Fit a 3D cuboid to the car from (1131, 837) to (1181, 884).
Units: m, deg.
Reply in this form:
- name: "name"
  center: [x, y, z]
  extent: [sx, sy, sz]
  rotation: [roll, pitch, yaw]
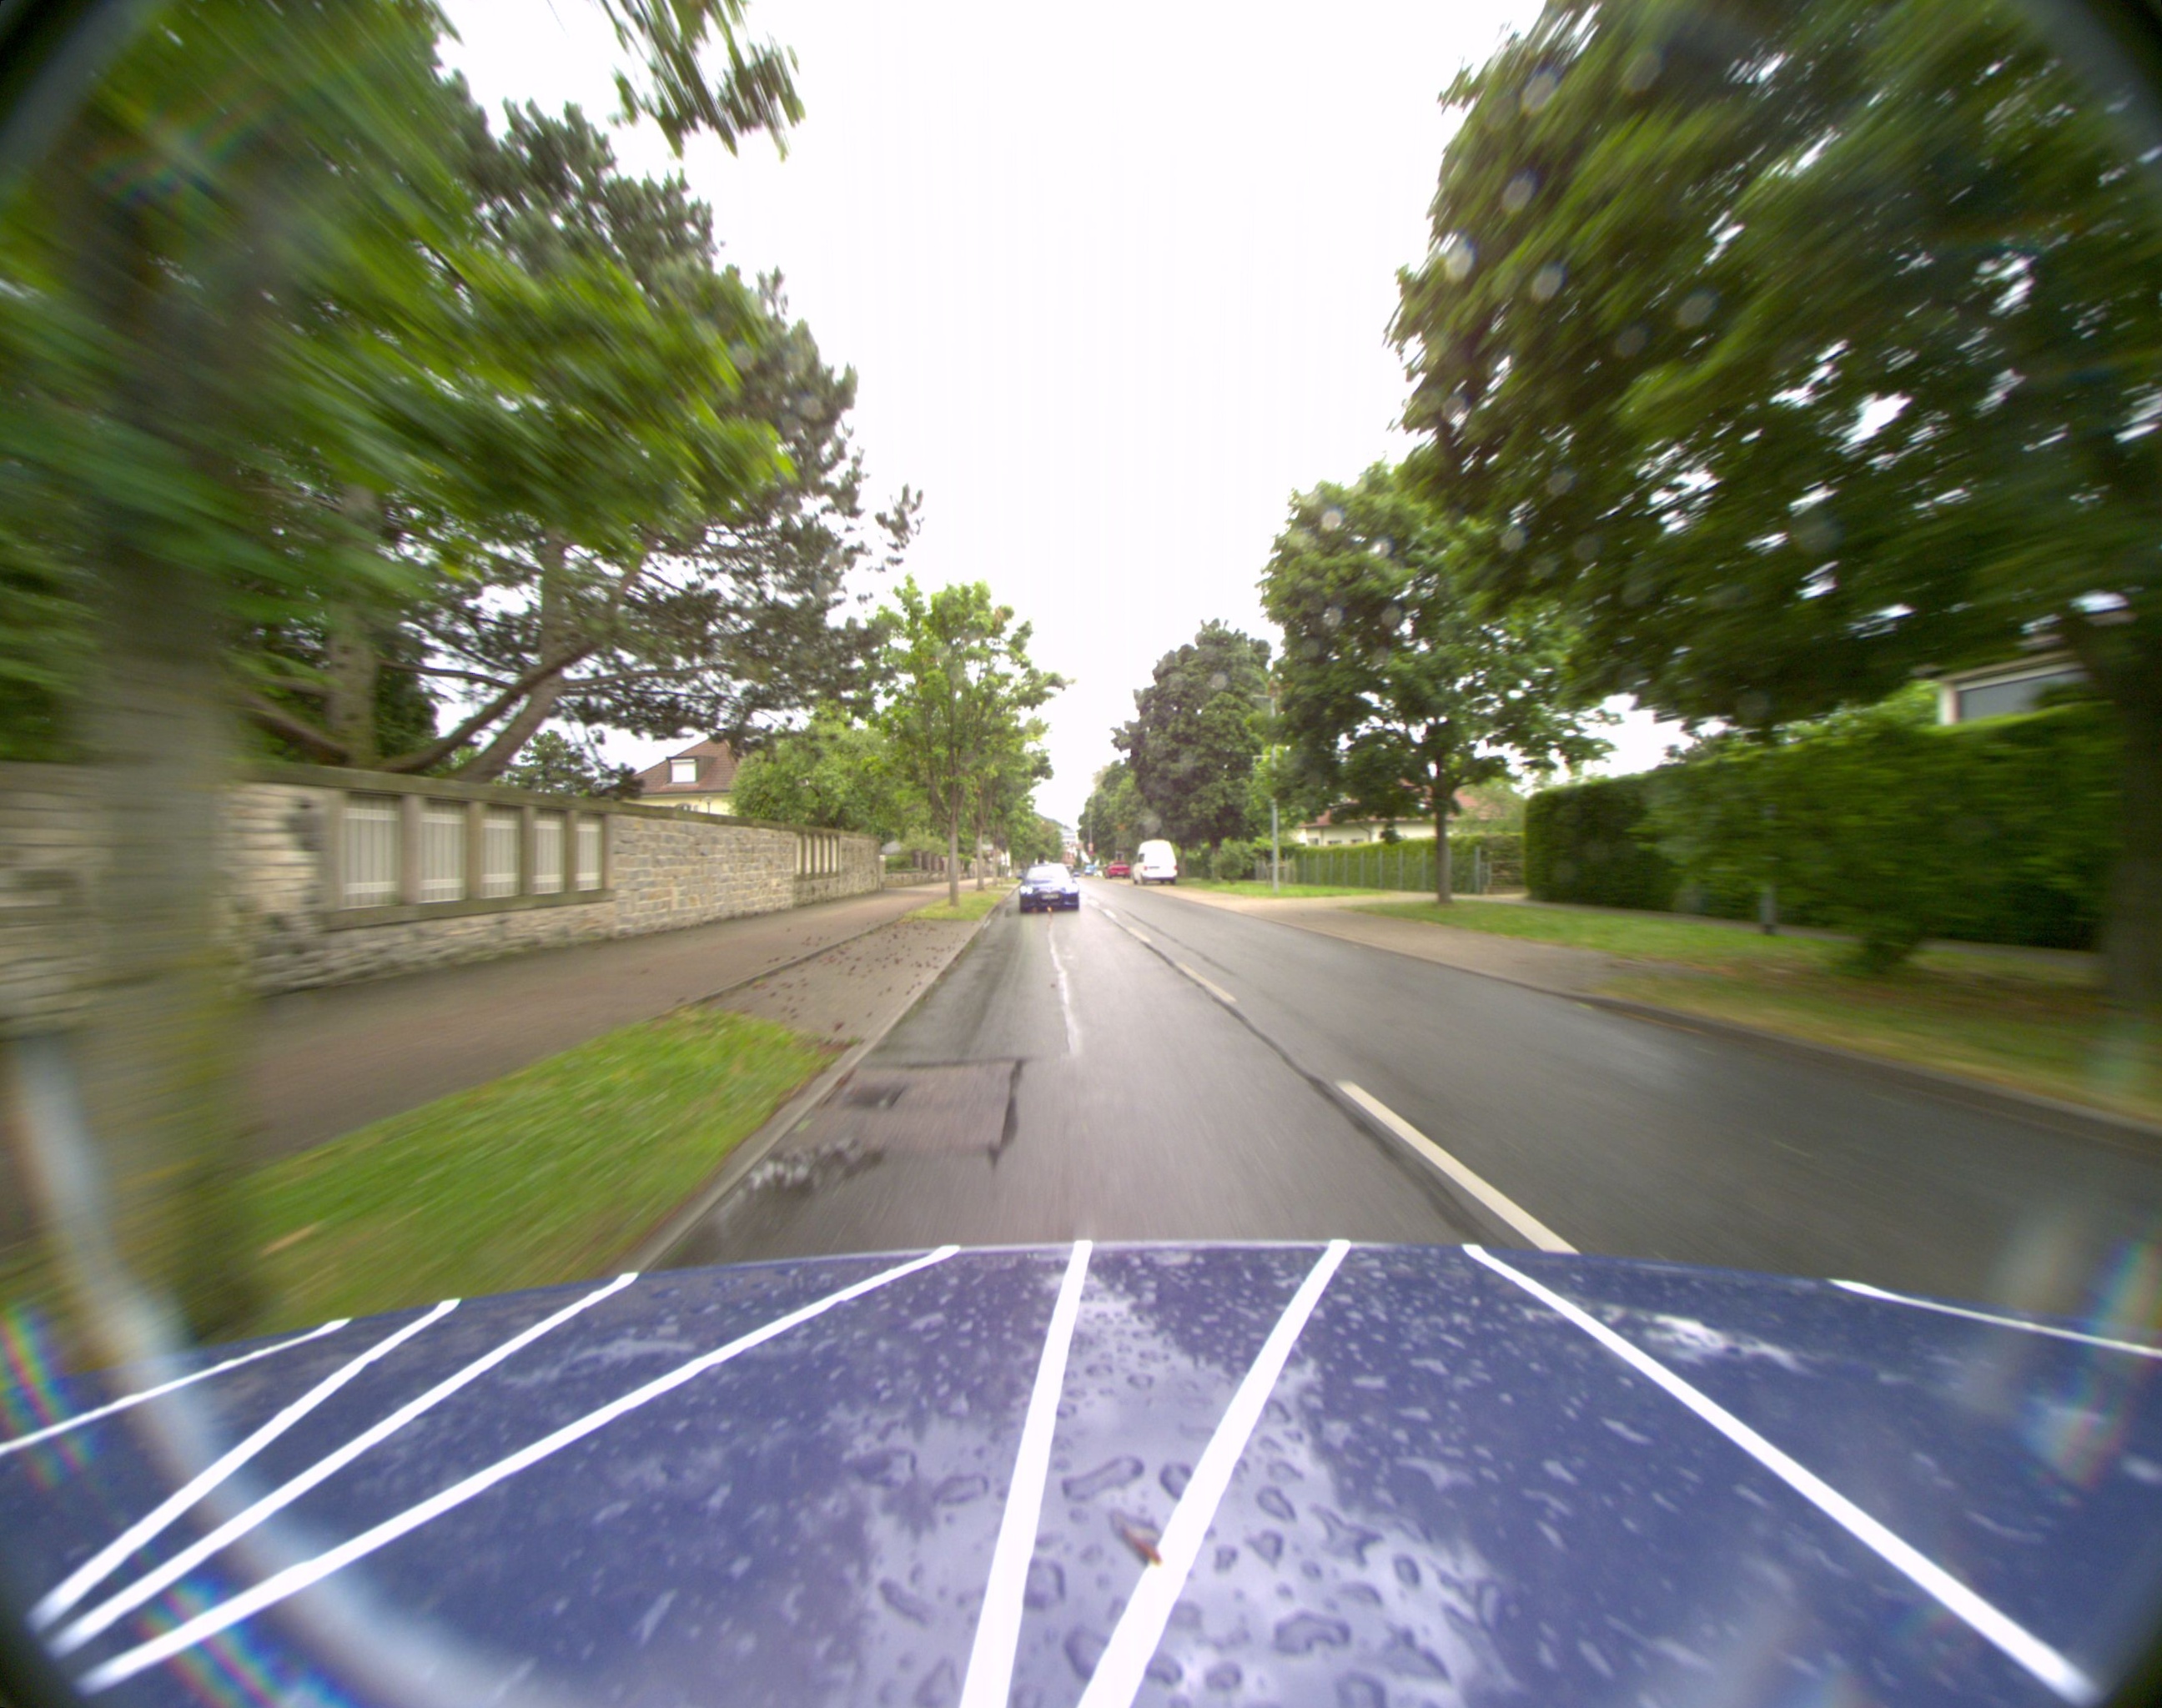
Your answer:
- name: "car"
  center: [4.277, 0.399, 44.119]
  extent: [1.999, 2.546, 5.231]
  rotation: [-1, 0, -4]

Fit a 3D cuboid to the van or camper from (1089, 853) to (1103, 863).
- name: "van or camper"
  center: [3.780, 1.015, 191.331]
  extent: [2.146, 2.593, 5.788]
  rotation: [1, 0, 13]

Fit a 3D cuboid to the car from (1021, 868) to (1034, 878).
- name: "car"
  center: [-8.110, 2.905, 115.708]
  extent: [1.645, 1.369, 3.830]
  rotation: [1, -1, 1]

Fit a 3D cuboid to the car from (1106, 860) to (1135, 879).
- name: "car"
  center: [3.234, 1.281, 63.084]
  extent: [1.848, 1.457, 4.248]
  rotation: [-1, -1, -4]

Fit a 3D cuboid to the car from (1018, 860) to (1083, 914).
- name: "car"
  center: [-1.056, 1.039, 24.748]
  extent: [1.896, 1.531, 3.999]
  rotation: [-3, -1, -4]

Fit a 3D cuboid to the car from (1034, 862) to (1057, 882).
- name: "car"
  center: [-2.851, 1.460, 61.437]
  extent: [1.656, 1.443, 4.001]
  rotation: [-3, -1, -1]
